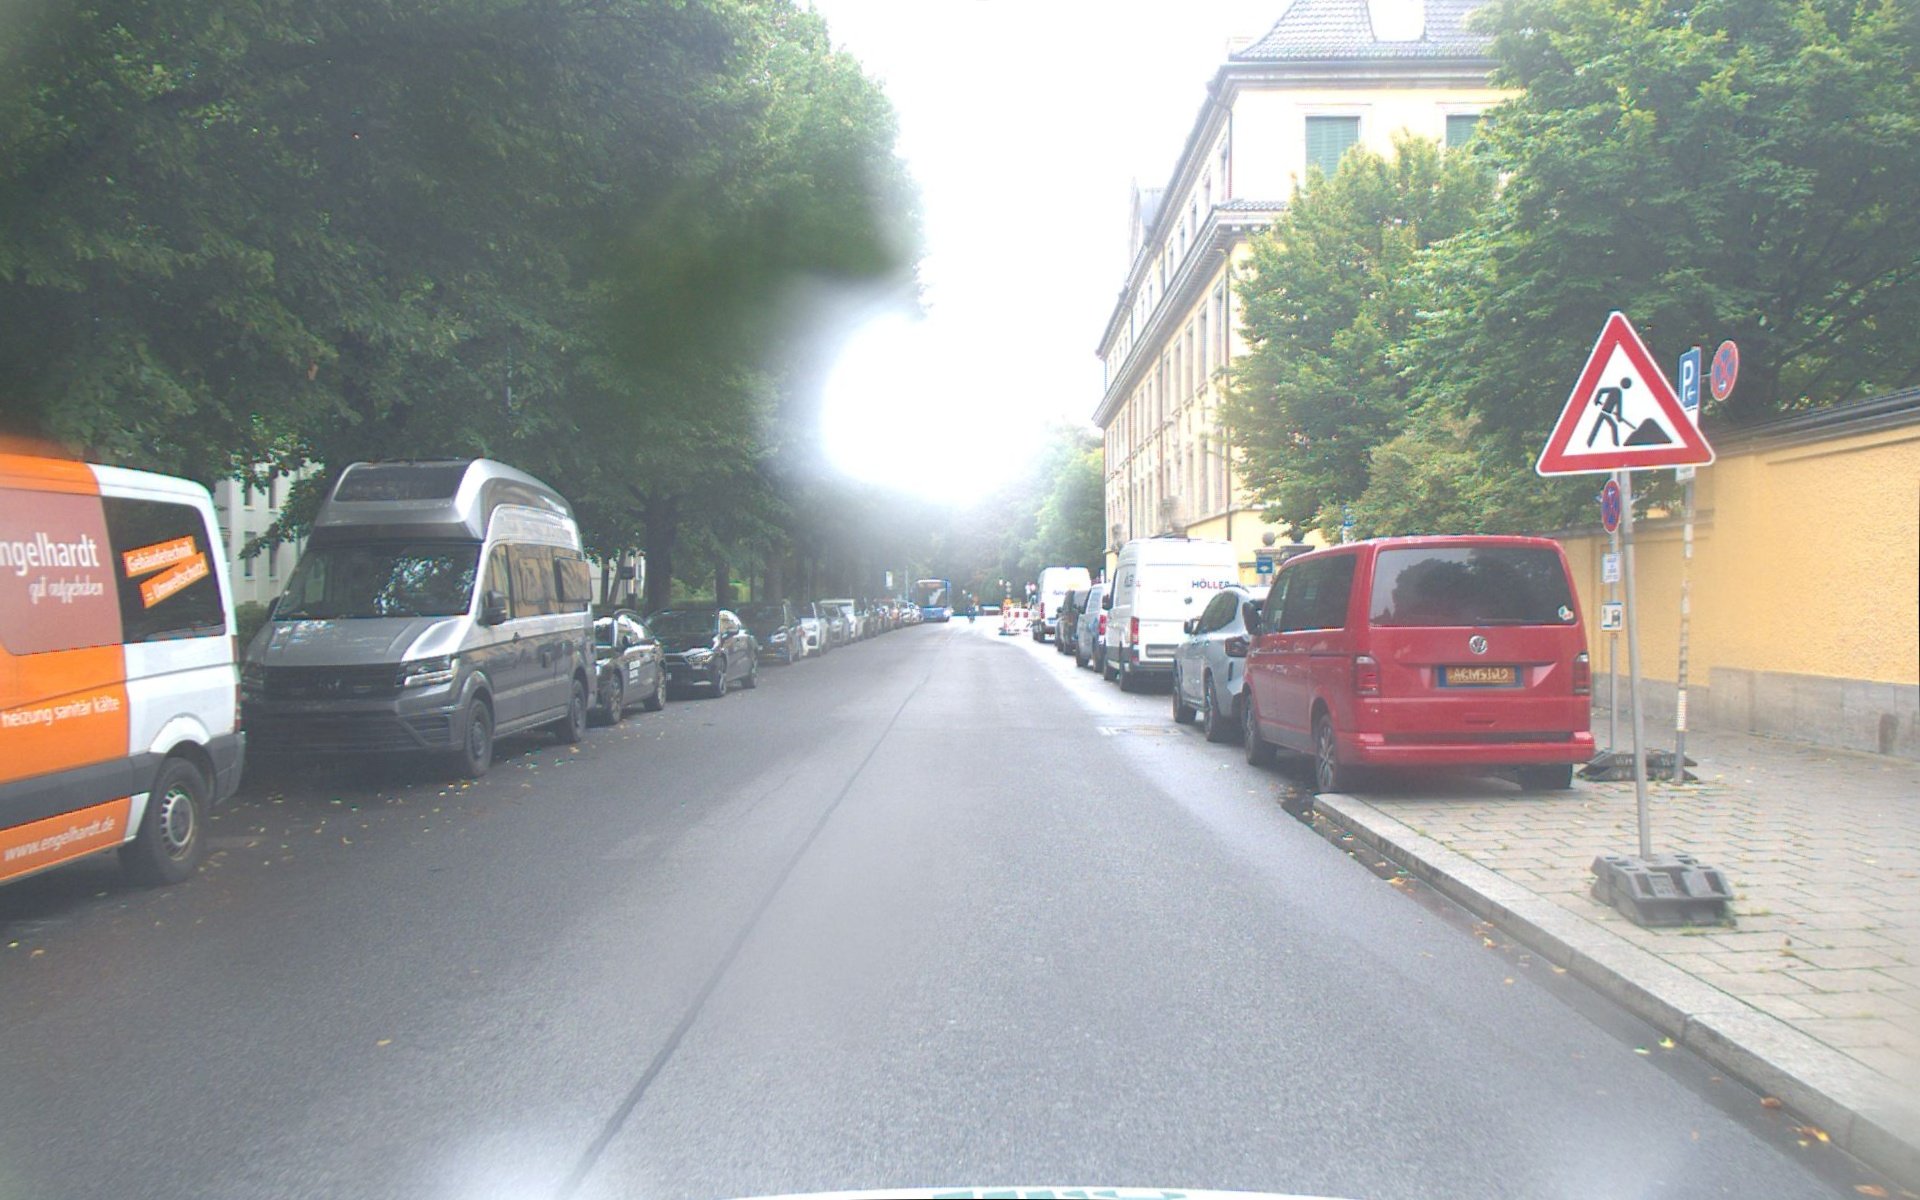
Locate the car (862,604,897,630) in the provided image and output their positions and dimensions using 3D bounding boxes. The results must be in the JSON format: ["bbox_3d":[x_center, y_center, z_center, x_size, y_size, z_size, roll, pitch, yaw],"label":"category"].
[{"bbox_3d":[-4.490,0.946,92.773,1.953,1.445,3.998,0,0,-2],"label":"car"}]

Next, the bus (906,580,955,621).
[{"bbox_3d":[-2.247,0.046,124.093,2.881,2.970,8.227,0,0,-7],"label":"bus"}]

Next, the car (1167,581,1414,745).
[{"bbox_3d":[3.676,0.645,19.264,1.953,1.663,4.564,-1,0,0],"label":"car"}]

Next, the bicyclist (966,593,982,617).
[{"bbox_3d":[0.952,0.333,111.529,1.000,1.572,1.257,-1,0,1],"label":"bicyclist"}]

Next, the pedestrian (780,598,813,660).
[{"bbox_3d":[-4.381,0.764,44.331,0.867,1.626,0.822,0,0,-7],"label":"pedestrian"}]

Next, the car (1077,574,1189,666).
[{"bbox_3d":[3.765,0.417,36.626,1.953,1.916,3.999,-1,0,-2],"label":"car"}]

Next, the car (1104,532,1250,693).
[{"bbox_3d":[3.755,0.201,29.570,1.952,2.603,5.430,-1,0,1],"label":"car"}]

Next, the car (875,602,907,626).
[{"bbox_3d":[-4.234,0.834,101.824,1.953,1.445,3.998,0,0,-2],"label":"car"}]

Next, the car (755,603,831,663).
[{"bbox_3d":[-4.792,0.914,47.957,1.953,1.648,4.127,0,0,-2],"label":"car"}]

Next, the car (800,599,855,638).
[{"bbox_3d":[-5.044,0.676,63.565,1.953,1.445,3.998,0,0,-2],"label":"car"}]

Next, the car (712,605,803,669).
[{"bbox_3d":[-5.056,0.884,41.760,1.953,1.513,4.127,0,0,-2],"label":"car"}]

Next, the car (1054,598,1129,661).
[{"bbox_3d":[3.759,0.813,47.814,1.758,1.708,3.999,-1,0,-2],"label":"car"}]

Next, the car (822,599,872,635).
[{"bbox_3d":[-4.694,0.702,69.134,1.953,1.445,3.998,0,0,-2],"label":"car"}]

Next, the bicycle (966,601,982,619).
[{"bbox_3d":[0.943,0.639,111.383,1.000,1.177,2.486,-1,0,1],"label":"bicycle"}]

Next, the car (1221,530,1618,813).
[{"bbox_3d":[3.611,0.499,14.053,1.872,1.971,4.967,0,0,-2],"label":"car"}]

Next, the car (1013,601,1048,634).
[{"bbox_3d":[3.971,0.942,92.599,1.767,1.767,4.002,-1,0,4],"label":"car"}]

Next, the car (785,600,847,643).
[{"bbox_3d":[-5.003,0.714,57.921,1.953,1.445,3.998,0,0,-2],"label":"car"}]

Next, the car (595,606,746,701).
[{"bbox_3d":[-4.785,0.845,27.876,1.953,1.445,4.127,0,0,-2],"label":"car"}]

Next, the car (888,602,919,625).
[{"bbox_3d":[-3.664,0.833,107.202,1.953,1.445,3.998,0,0,-2],"label":"car"}]

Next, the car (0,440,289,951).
[{"bbox_3d":[-5.352,0.460,7.679,2.041,2.304,5.603,-2,0,1],"label":"car"}]

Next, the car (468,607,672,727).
[{"bbox_3d":[-5.130,0.823,22.292,1.953,1.445,3.998,0,0,-2],"label":"car"}]

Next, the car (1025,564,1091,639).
[{"bbox_3d":[3.593,0.044,61.270,1.803,2.668,4.379,0,0,-5],"label":"car"}]

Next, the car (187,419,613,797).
[{"bbox_3d":[-5.200,0.062,16.540,2.128,3.055,6.233,0,0,0],"label":"car"}]
